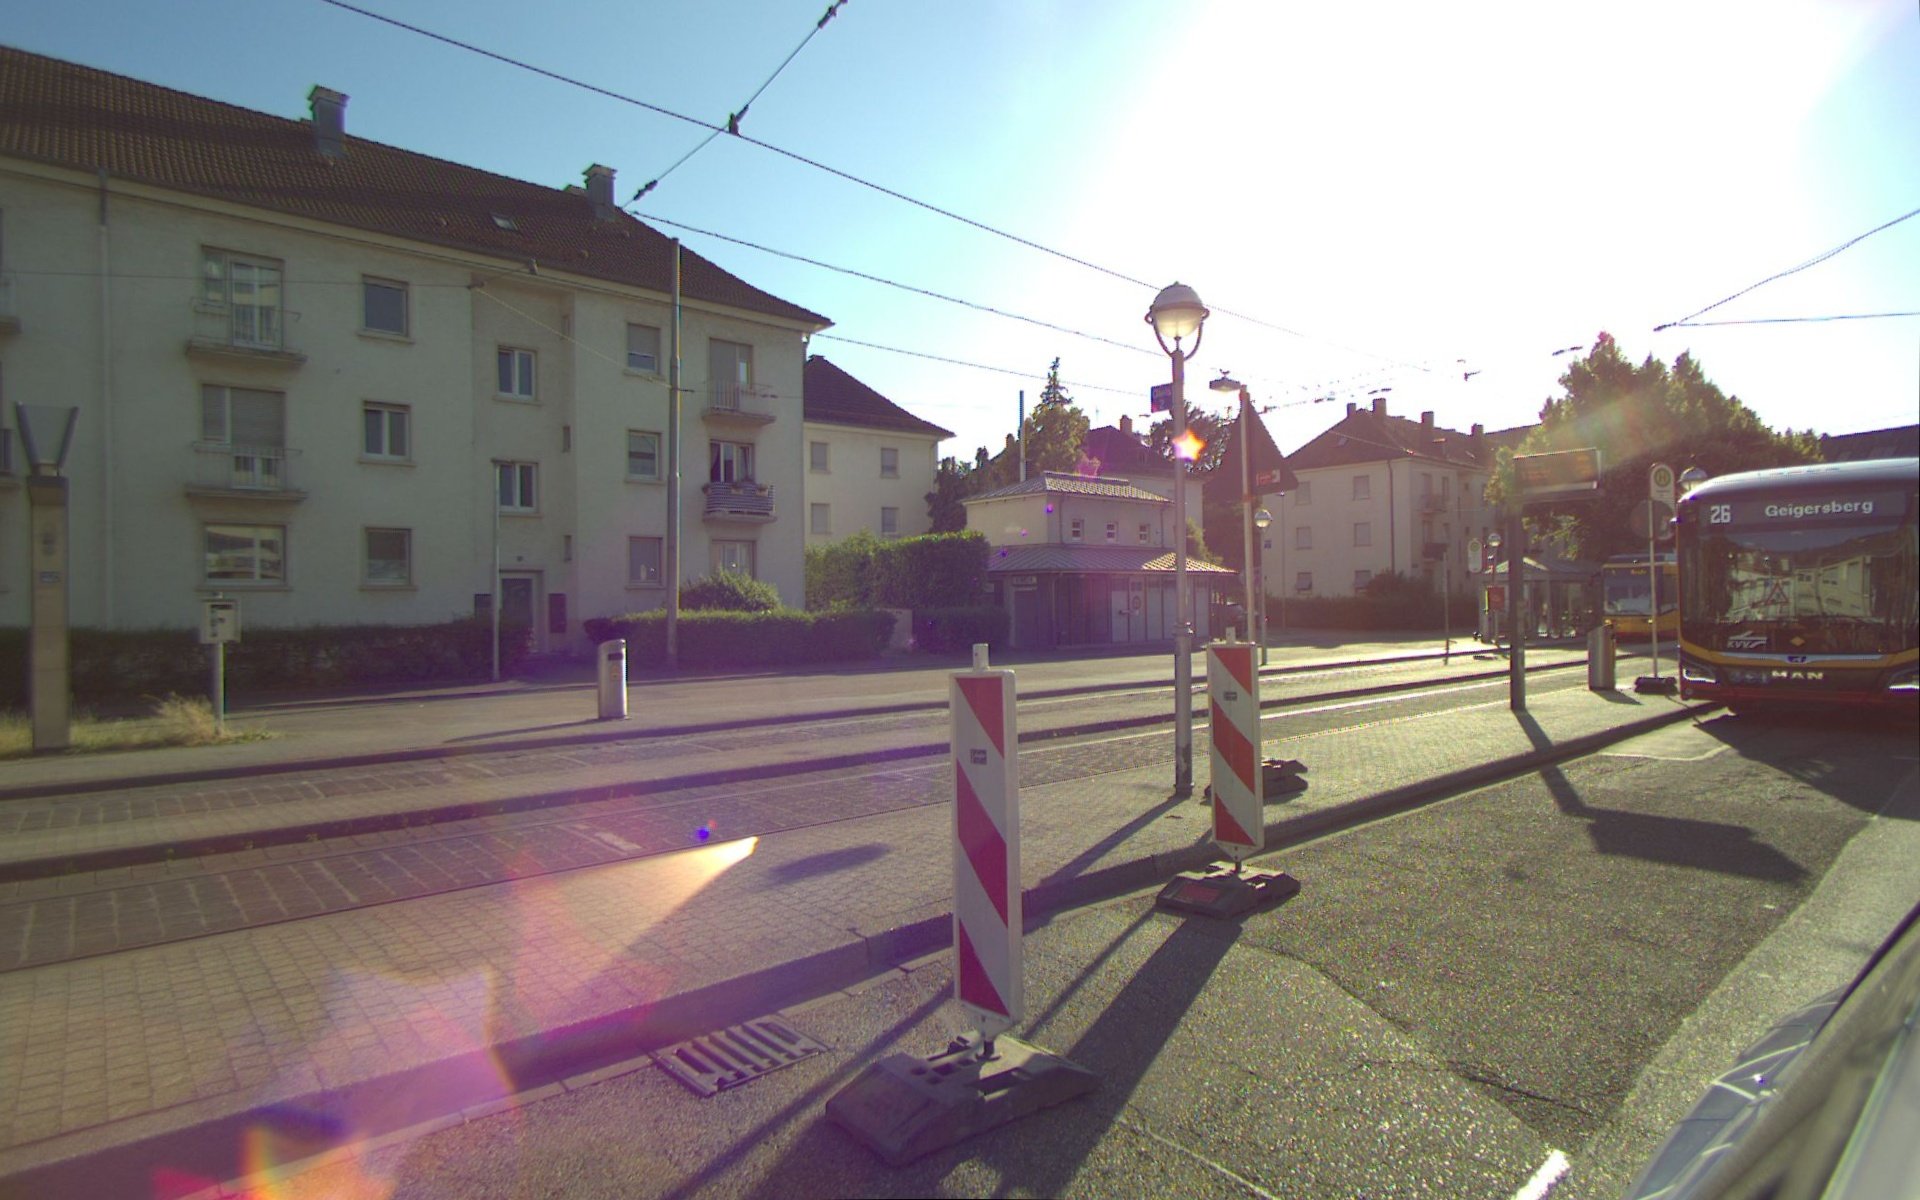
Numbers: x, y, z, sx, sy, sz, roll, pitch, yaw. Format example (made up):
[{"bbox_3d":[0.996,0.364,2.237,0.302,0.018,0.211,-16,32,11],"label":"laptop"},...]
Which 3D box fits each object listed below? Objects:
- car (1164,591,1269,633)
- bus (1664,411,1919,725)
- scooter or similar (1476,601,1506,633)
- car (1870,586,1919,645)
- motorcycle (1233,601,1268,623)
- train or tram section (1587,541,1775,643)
[{"bbox_3d":[11.792,0.508,46.754,1.963,1.791,4.451,-1,1,-37],"label":"car"},{"bbox_3d":[14.309,-0.374,15.844,11.810,3.460,2.692,0,0,-42],"label":"bus"},{"bbox_3d":[20.660,0.644,39.380,1.185,1.223,0.468,-1,0,-30],"label":"scooter or similar"},{"bbox_3d":[28.980,0.444,30.385,3.930,1.695,1.997,0,0,-41],"label":"car"},{"bbox_3d":[15.788,0.671,54.996,0.549,1.177,1.823,0,0,-43],"label":"motorcycle"},{"bbox_3d":[30.080,-0.517,41.665,15.698,3.578,2.961,-2,2,-42],"label":"train or tram section"}]
